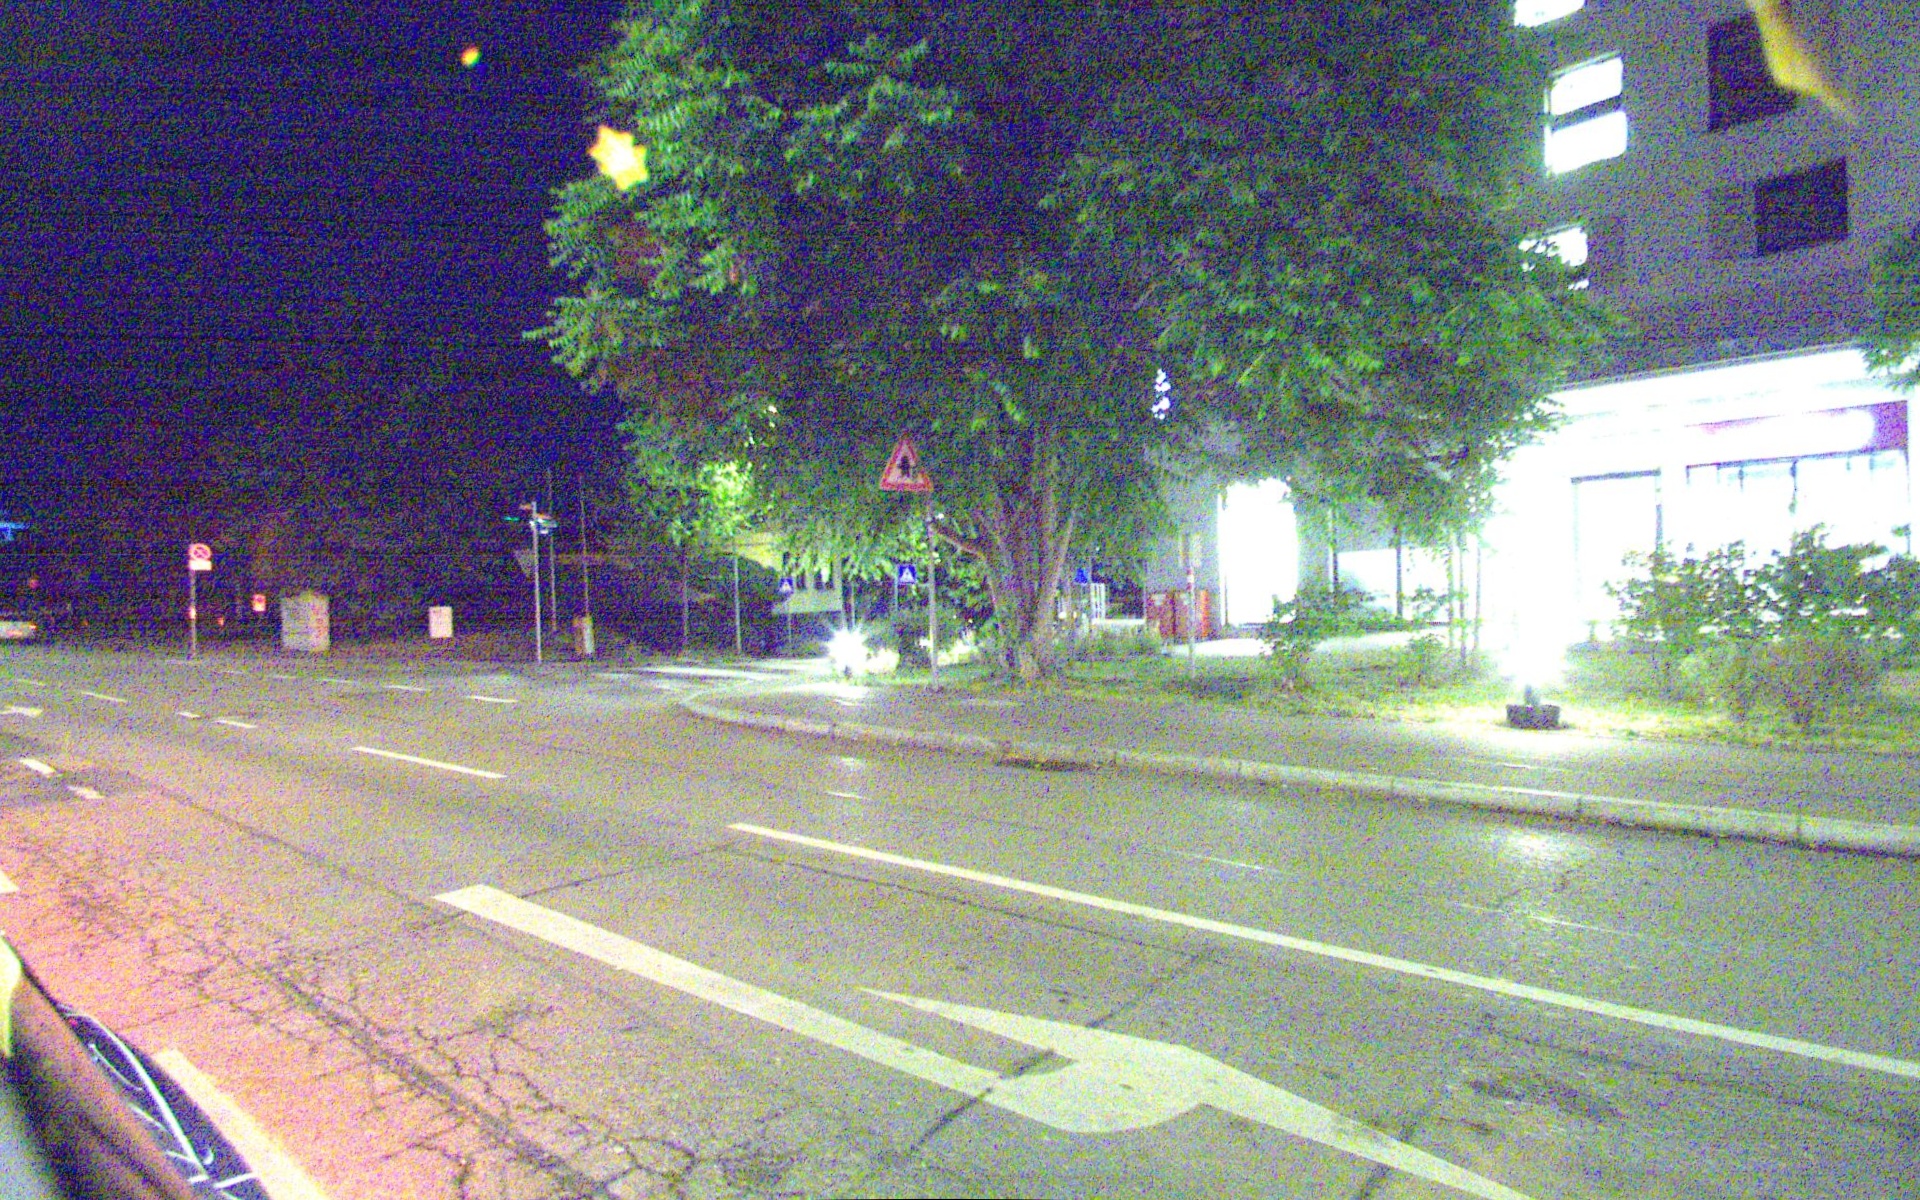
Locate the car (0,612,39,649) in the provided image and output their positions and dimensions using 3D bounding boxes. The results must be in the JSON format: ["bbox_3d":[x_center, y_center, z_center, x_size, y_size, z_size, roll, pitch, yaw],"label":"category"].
[{"bbox_3d":[-43.179,1.362,45.712,3.998,1.464,1.887,1,2,41],"label":"car"}]
